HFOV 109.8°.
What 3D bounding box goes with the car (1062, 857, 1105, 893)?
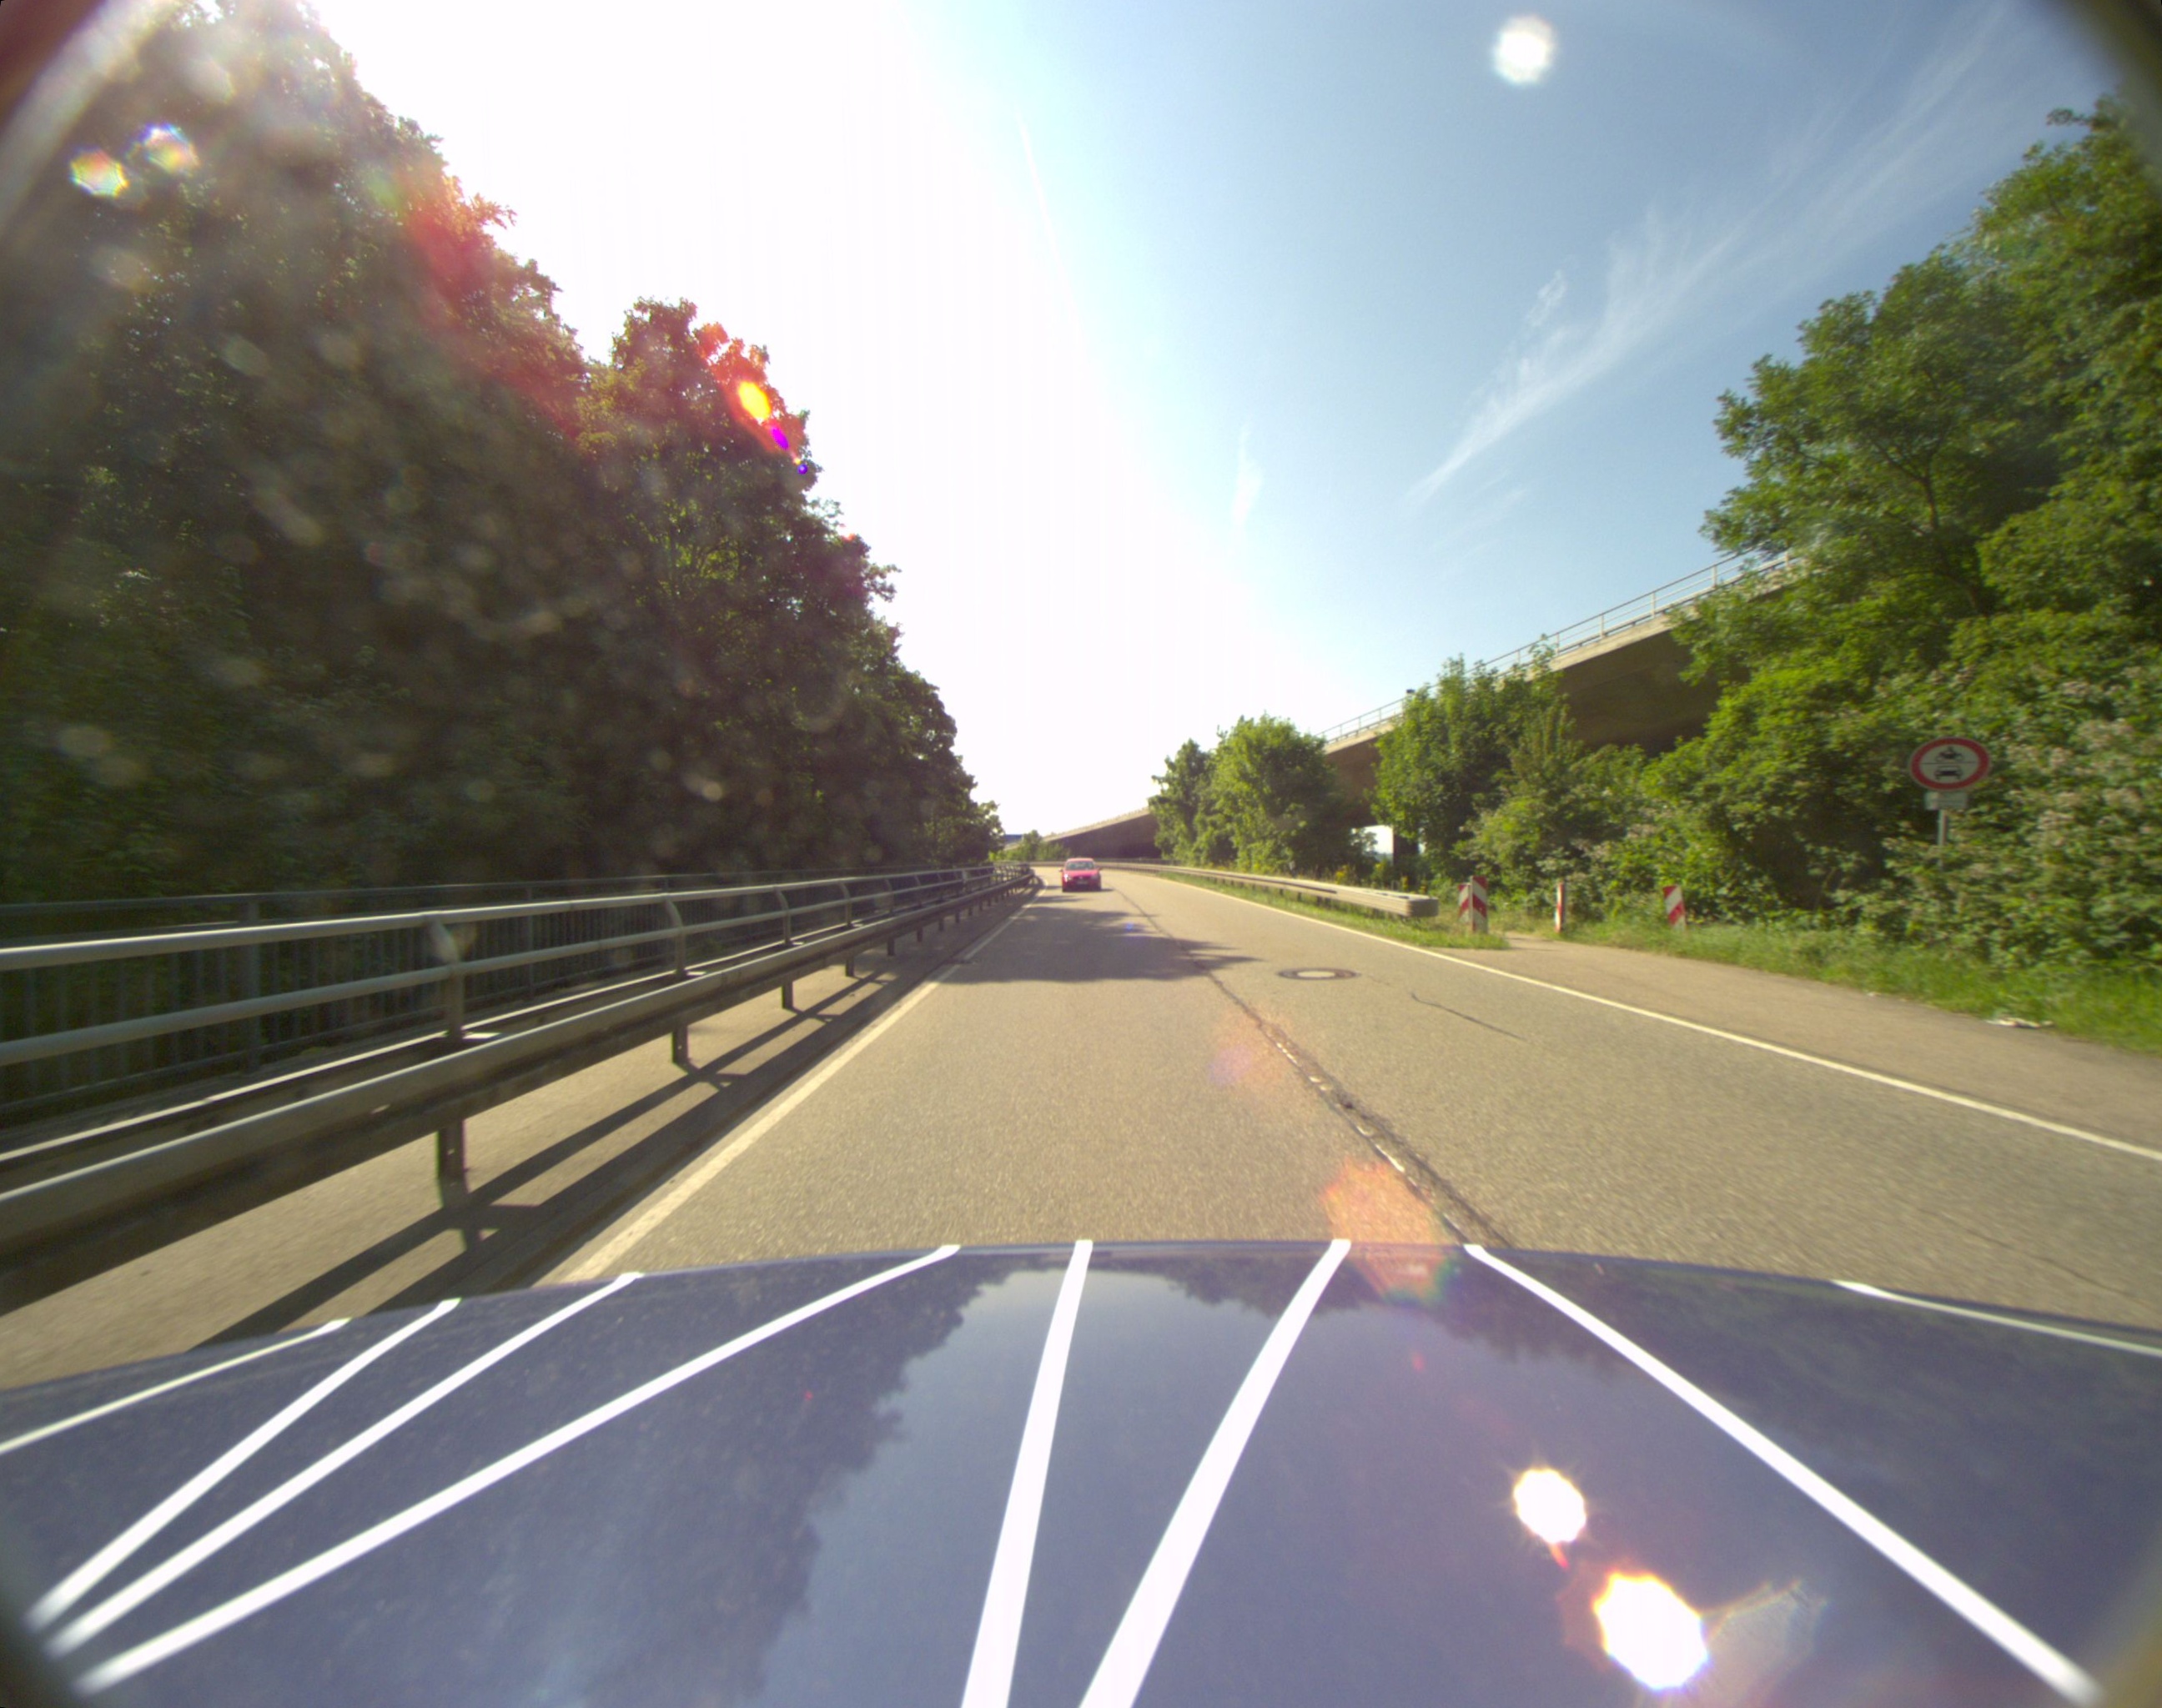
[{"bbox_3d":[0.054,0.929,35.243,1.817,1.487,4.285,-2,0,-2],"label":"car"}]
